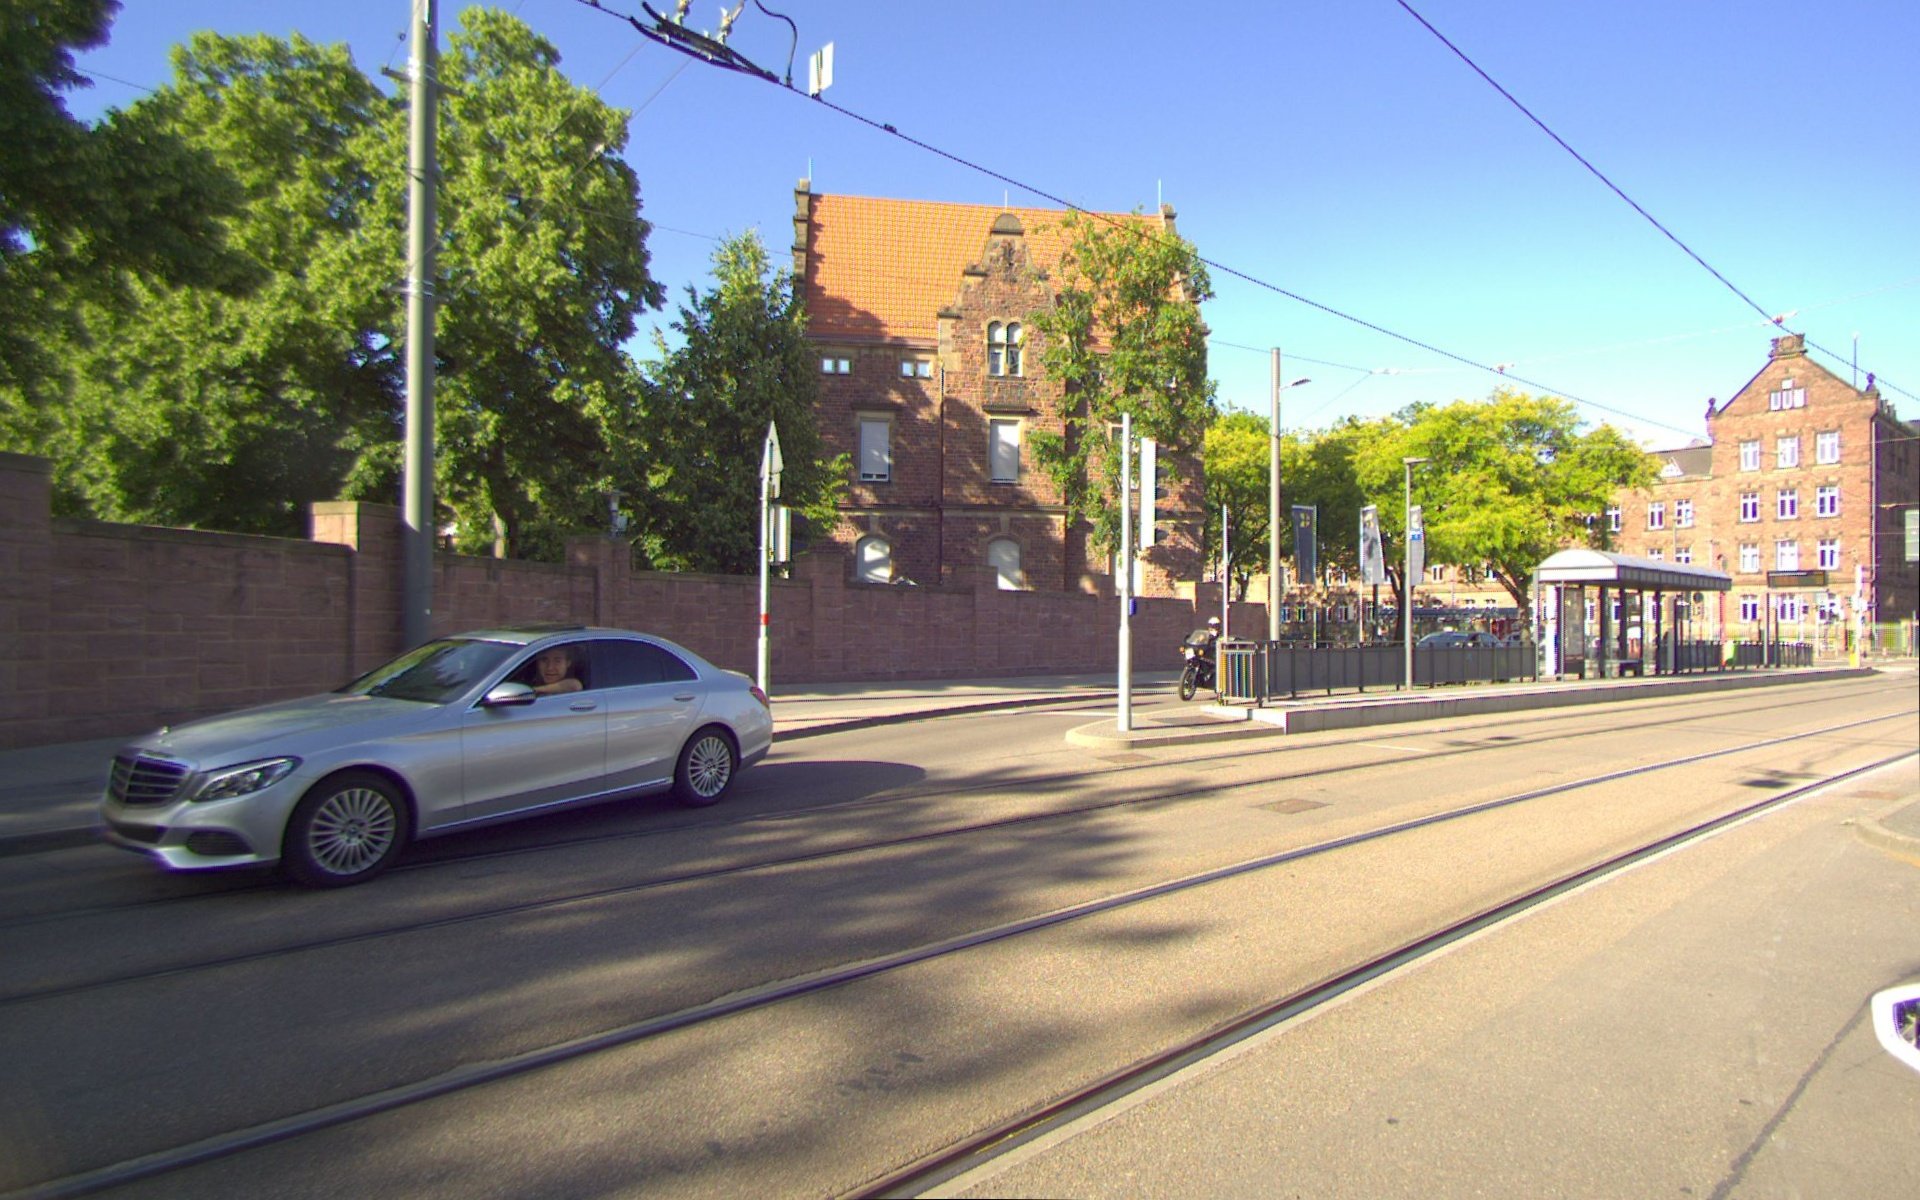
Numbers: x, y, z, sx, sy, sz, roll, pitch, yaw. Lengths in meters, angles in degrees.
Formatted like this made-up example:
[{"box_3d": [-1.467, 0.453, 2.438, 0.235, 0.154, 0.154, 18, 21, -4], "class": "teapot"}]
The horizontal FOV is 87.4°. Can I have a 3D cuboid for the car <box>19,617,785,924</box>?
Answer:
[{"box_3d": [-3.509, 0.877, 7.371, 1.855, 1.434, 4.615, 2, 0, 30], "class": "car"}]

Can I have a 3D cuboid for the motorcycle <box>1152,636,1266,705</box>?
[{"box_3d": [4.963, 1.357, 19.903, 1.117, 1.260, 2.560, 0, -1, 42], "class": "motorcycle"}]

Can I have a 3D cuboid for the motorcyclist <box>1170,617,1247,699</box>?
[{"box_3d": [4.907, 1.128, 19.831, 1.112, 1.545, 1.049, 0, -1, 42], "class": "motorcyclist"}]

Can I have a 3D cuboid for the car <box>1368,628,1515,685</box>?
[{"box_3d": [13.132, 1.587, 27.350, 3.943, 1.421, 1.844, 3, -6, -35], "class": "car"}]

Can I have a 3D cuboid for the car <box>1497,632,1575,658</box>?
[{"box_3d": [37.689, 2.933, 65.845, 1.858, 1.542, 4.038, 2, -1, -35], "class": "car"}]

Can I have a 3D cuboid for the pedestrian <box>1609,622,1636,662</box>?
[{"box_3d": [31.408, 1.992, 47.620, 1.085, 1.885, 0.722, 2, -1, -35], "class": "pedestrian"}]
